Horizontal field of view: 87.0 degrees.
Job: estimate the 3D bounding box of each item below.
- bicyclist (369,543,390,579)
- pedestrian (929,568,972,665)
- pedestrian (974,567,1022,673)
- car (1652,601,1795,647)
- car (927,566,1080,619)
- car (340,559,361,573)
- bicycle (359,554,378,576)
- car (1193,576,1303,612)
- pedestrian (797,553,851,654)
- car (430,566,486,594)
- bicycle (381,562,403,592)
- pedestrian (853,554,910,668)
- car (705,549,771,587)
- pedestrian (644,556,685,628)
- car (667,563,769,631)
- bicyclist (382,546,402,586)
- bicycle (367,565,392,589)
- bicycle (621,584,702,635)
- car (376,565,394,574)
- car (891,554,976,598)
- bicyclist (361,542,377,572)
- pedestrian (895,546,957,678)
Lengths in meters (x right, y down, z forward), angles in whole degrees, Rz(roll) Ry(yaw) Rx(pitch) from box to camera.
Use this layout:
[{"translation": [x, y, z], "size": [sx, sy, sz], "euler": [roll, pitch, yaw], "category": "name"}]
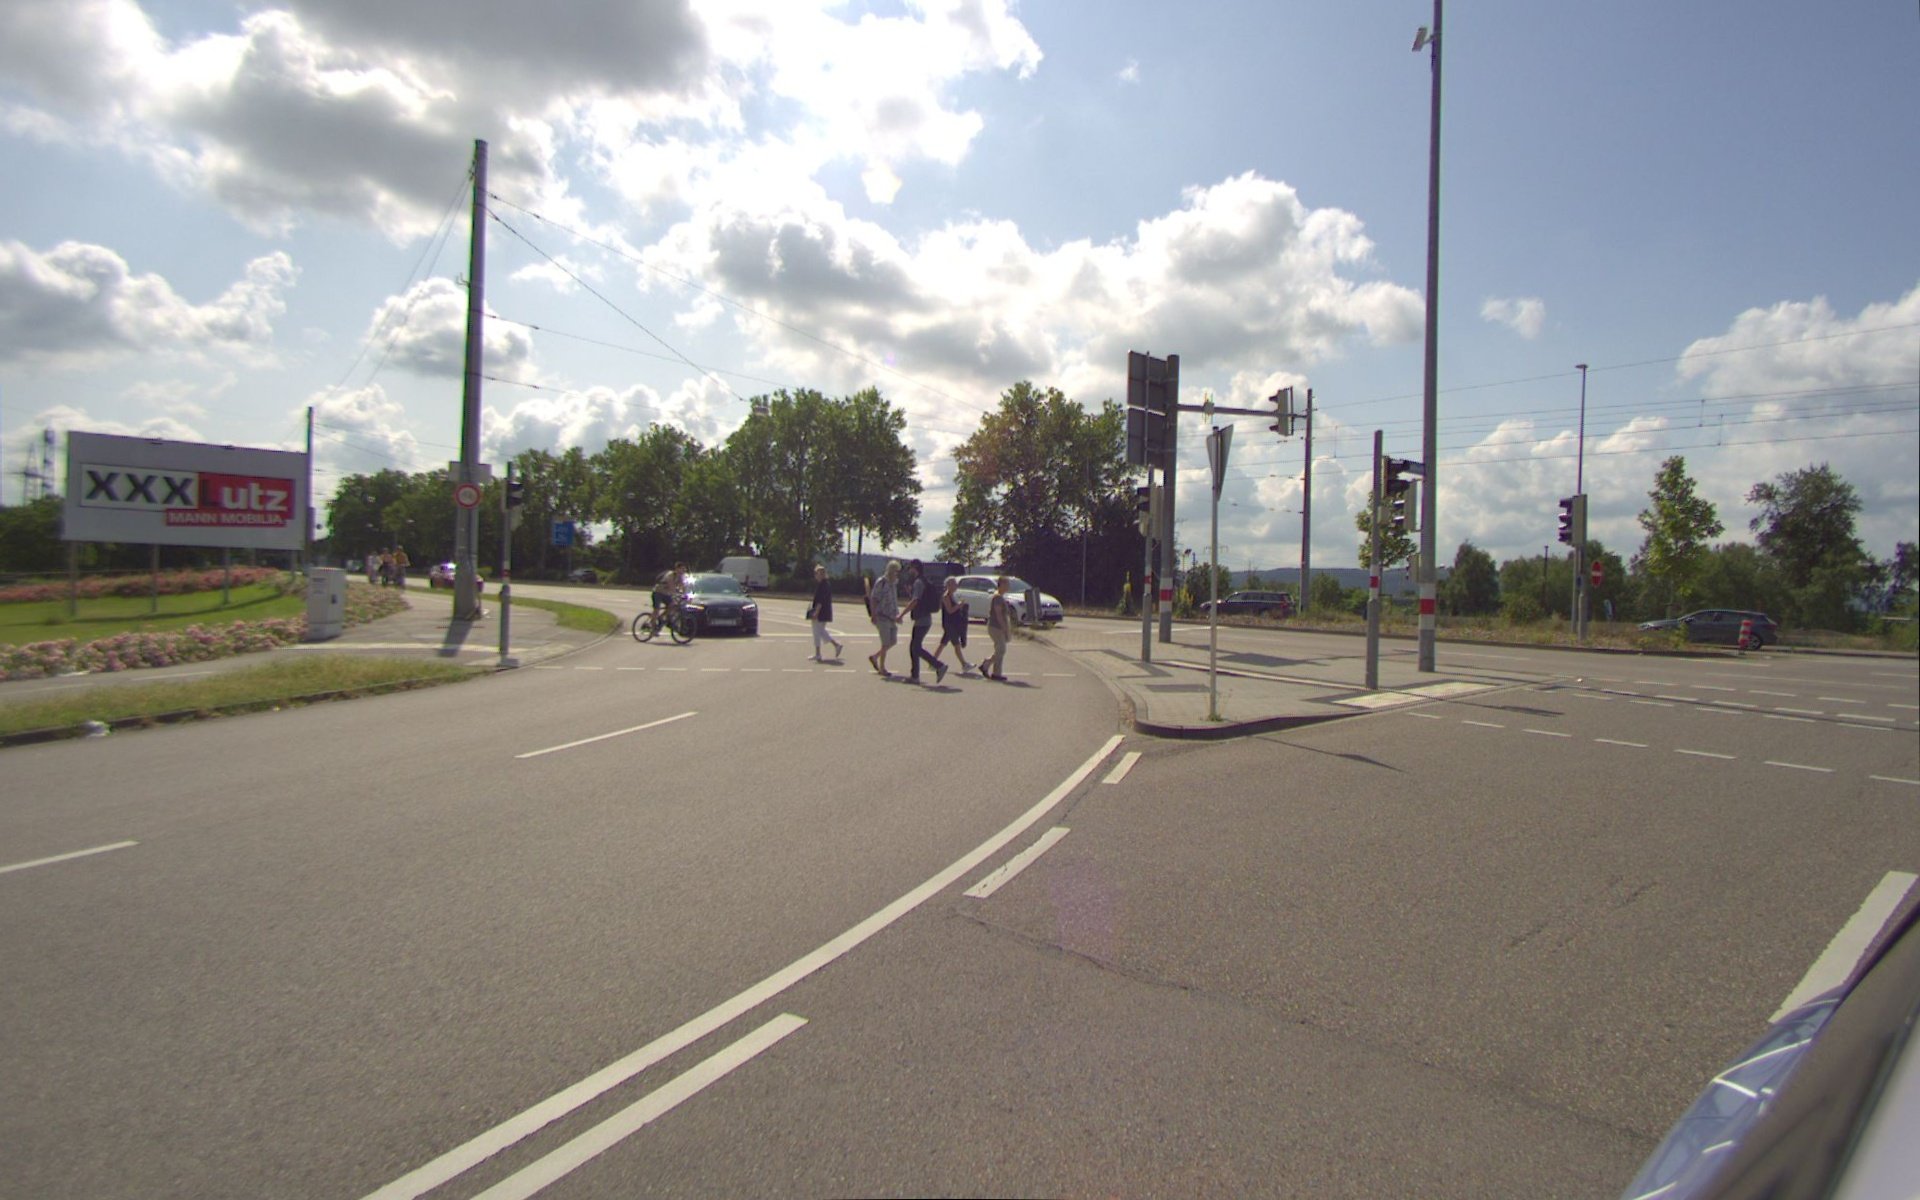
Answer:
[{"translation": [-24.686, -1.666, 43.017], "size": [0.639, 1.494, 0.742], "euler": [1, -1, -39], "category": "bicyclist"}, {"translation": [-0.158, 0.253, 16.452], "size": [0.460, 1.543, 0.586], "euler": [0, 1, -31], "category": "pedestrian"}, {"translation": [0.568, 0.293, 15.187], "size": [0.460, 1.543, 0.557], "euler": [1, -1, -31], "category": "pedestrian"}, {"translation": [28.059, 0.839, 37.247], "size": [4.055, 1.465, 1.703], "euler": [2, 2, 43], "category": "car"}, {"translation": [1.229, -0.263, 30.154], "size": [1.980, 1.430, 4.488], "euler": [0, 1, -43], "category": "car"}, {"translation": [-113.282, -6.289, 188.065], "size": [2.113, 2.387, 5.472], "euler": [1, 2, -43], "category": "car"}, {"translation": [-27.861, -1.649, 47.660], "size": [0.585, 0.973, 1.987], "euler": [1, -1, -36], "category": "bicycle"}, {"translation": [14.006, -0.316, 49.324], "size": [4.757, 1.527, 1.940], "euler": [2, 0, 38], "category": "car"}, {"translation": [-2.484, 0.051, 18.405], "size": [0.848, 1.786, 0.865], "euler": [1, 2, -13], "category": "pedestrian"}, {"translation": [-25.801, -1.049, 51.950], "size": [1.718, 1.377, 4.245], "euler": [-1, 2, -39], "category": "car"}, {"translation": [-23.002, -0.908, 40.996], "size": [0.609, 1.180, 1.505], "euler": [1, -1, -35], "category": "bicycle"}, {"translation": [-1.255, 0.154, 16.075], "size": [0.686, 1.749, 0.690], "euler": [-1, 2, -29], "category": "pedestrian"}, {"translation": [-16.293, -2.381, 73.990], "size": [5.575, 2.522, 1.928], "euler": [4, 1, 45], "category": "car"}, {"translation": [-6.424, -0.173, 22.045], "size": [0.676, 1.556, 0.504], "euler": [1, -1, 16], "category": "pedestrian"}, {"translation": [-6.175, -0.161, 25.504], "size": [1.876, 1.501, 4.212], "euler": [-1, 3, -22], "category": "car"}, {"translation": [-22.982, -1.369, 40.976], "size": [0.609, 1.555, 0.697], "euler": [1, -1, -35], "category": "bicyclist"}, {"translation": [-24.597, -0.953, 42.877], "size": [0.654, 0.973, 1.694], "euler": [1, -1, -39], "category": "bicycle"}, {"translation": [-6.509, 0.201, 22.066], "size": [1.671, 1.061, 0.505], "euler": [1, -1, 16], "category": "bicycle"}, {"translation": [-93.755, -4.973, 165.001], "size": [1.901, 1.382, 3.736], "euler": [1, 0, -42], "category": "car"}, {"translation": [-1.767, -1.568, 64.735], "size": [5.659, 2.638, 1.960], "euler": [3, -1, 44], "category": "car"}, {"translation": [-27.757, -2.009, 47.536], "size": [0.582, 1.342, 0.687], "euler": [1, -1, -37], "category": "bicyclist"}, {"translation": [-0.500, 0.163, 14.528], "size": [0.744, 1.825, 0.823], "euler": [0, 0, -13], "category": "pedestrian"}]
